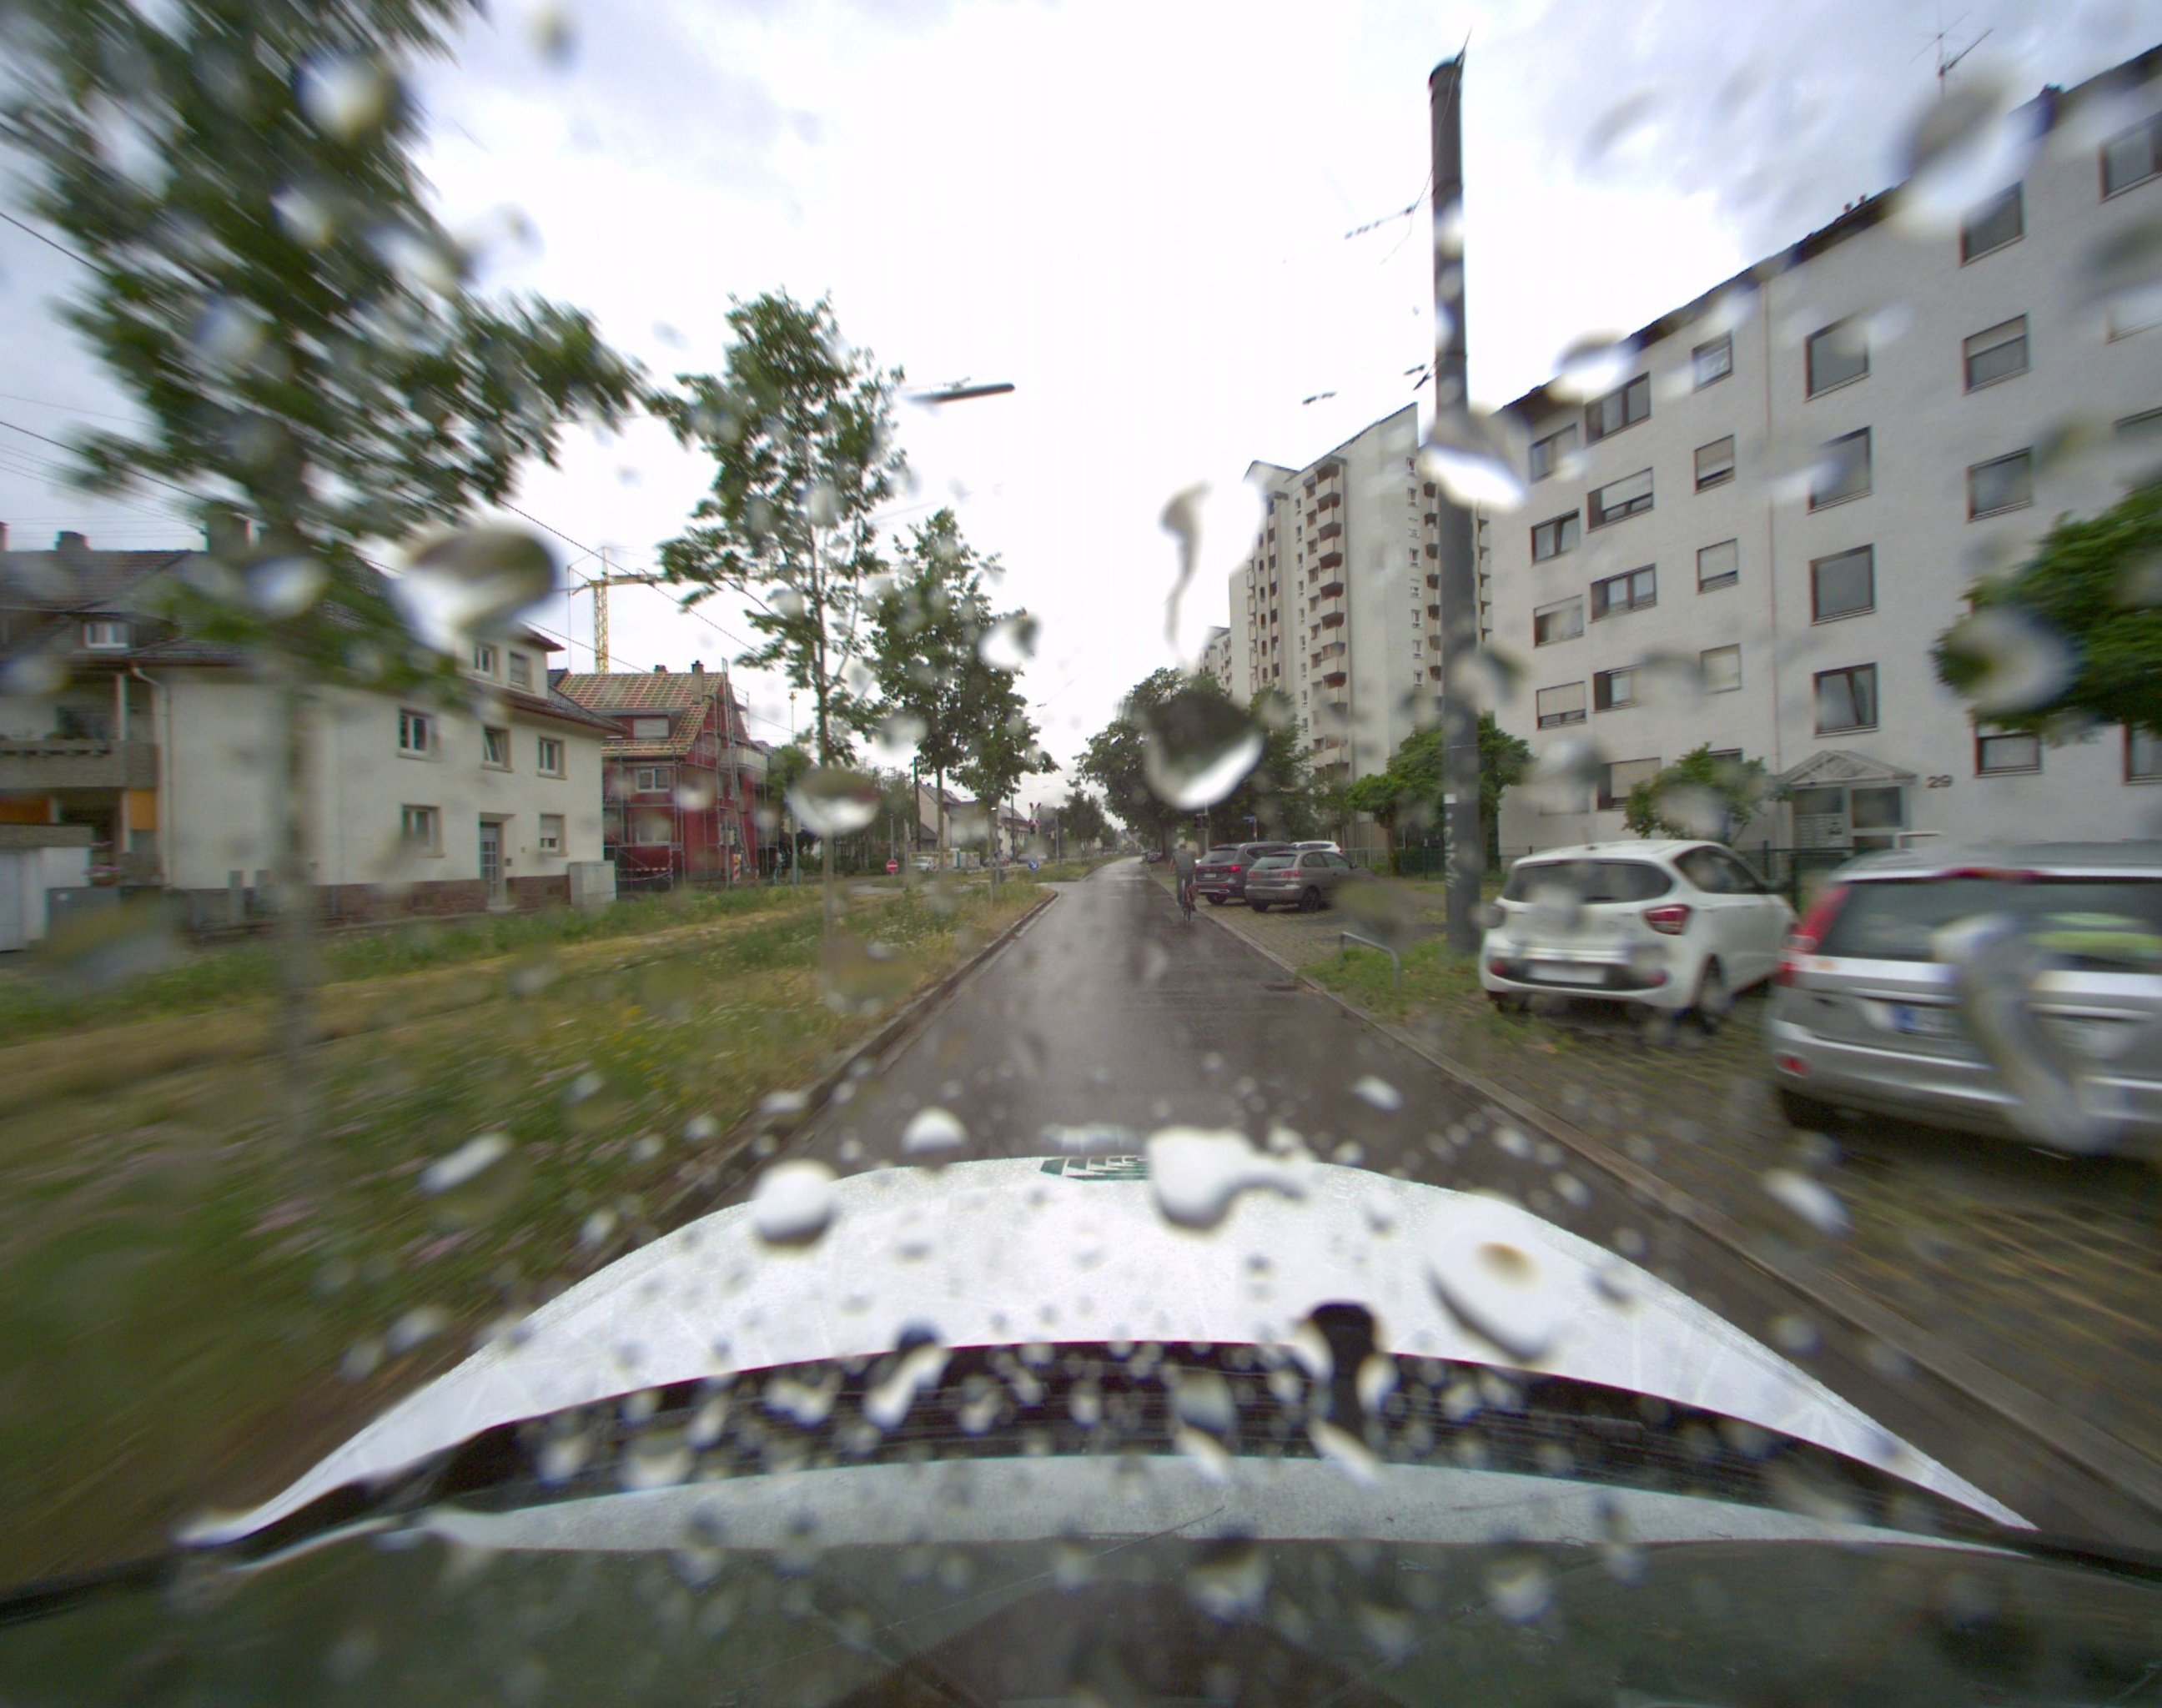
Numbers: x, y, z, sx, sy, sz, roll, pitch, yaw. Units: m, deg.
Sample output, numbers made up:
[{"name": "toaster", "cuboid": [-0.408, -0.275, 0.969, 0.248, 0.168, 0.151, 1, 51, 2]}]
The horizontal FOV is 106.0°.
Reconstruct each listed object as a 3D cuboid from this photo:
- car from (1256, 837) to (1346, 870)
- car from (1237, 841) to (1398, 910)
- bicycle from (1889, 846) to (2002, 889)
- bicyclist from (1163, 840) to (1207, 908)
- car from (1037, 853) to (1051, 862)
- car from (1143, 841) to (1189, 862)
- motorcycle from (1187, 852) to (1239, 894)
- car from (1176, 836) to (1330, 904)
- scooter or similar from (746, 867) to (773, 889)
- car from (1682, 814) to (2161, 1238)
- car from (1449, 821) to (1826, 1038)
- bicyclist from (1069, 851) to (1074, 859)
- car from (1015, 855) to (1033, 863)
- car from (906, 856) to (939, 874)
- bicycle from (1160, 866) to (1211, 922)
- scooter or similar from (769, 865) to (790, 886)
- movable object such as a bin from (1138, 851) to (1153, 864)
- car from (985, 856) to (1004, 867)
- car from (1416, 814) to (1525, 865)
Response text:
[{"name": "car", "cuboid": [13.109, -0.040, 48.603, 4.807, 1.745, 1.992, -2, 0, -13]}, {"name": "car", "cuboid": [5.789, 0.464, 19.725, 4.020, 1.429, 1.715, -2, 0, -39]}, {"name": "bicycle", "cuboid": [18.301, 0.279, 17.284, 0.491, 0.847, 1.560, -2, 0, -23]}, {"name": "bicyclist", "cuboid": [2.314, 0.434, 18.270, 0.807, 1.432, 1.060, -2, 0, 0]}, {"name": "car", "cuboid": [-6.822, 0.638, 150.624, 1.886, 1.469, 4.696, 0, 0, 7]}, {"name": "car", "cuboid": [8.531, -0.253, 81.844, 4.160, 1.719, 1.981, -5, 1, -29]}, {"name": "motorcycle", "cuboid": [4.685, 0.658, 28.794, 1.787, 1.336, 0.682, -3, 0, -34]}, {"name": "car", "cuboid": [4.879, 0.386, 22.831, 4.372, 1.651, 1.836, -2, 0, -39]}, {"name": "scooter or similar", "cuboid": [-17.451, 1.305, 44.214, 0.435, 1.129, 1.291, -2, 0, 33]}, {"name": "car", "cuboid": [5.245, 0.587, 4.507, 4.016, 1.508, 1.765, -3, -2, -34]}, {"name": "car", "cuboid": [5.400, 0.538, 7.727, 4.019, 1.508, 1.686, -2, -2, -37]}, {"name": "bicyclist", "cuboid": [-2.153, 0.264, 192.551, 1.014, 1.685, 1.093, -2, 0, 4]}, {"name": "car", "cuboid": [-8.971, 0.787, 128.321, 1.886, 1.244, 4.696, 0, 0, 7]}, {"name": "car", "cuboid": [-14.184, 0.962, 73.129, 1.702, 1.542, 4.428, 1, 0, 5]}, {"name": "bicycle", "cuboid": [2.331, 0.860, 18.441, 0.807, 1.096, 2.517, -2, 0, 0]}, {"name": "scooter or similar", "cuboid": [-17.514, 1.257, 47.322, 0.390, 1.180, 1.289, -2, 0, 18]}, {"name": "movable object such as a bin", "cuboid": [7.532, 0.402, 95.138, 1.128, 1.457, 1.393, -8, 2, -17]}, {"name": "car", "cuboid": [-10.920, 0.943, 102.453, 1.656, 1.244, 4.076, 0, 0, 4]}, {"name": "car", "cuboid": [24.108, -0.885, 50.463, 6.061, 2.964, 2.121, -2, 0, -13]}]
